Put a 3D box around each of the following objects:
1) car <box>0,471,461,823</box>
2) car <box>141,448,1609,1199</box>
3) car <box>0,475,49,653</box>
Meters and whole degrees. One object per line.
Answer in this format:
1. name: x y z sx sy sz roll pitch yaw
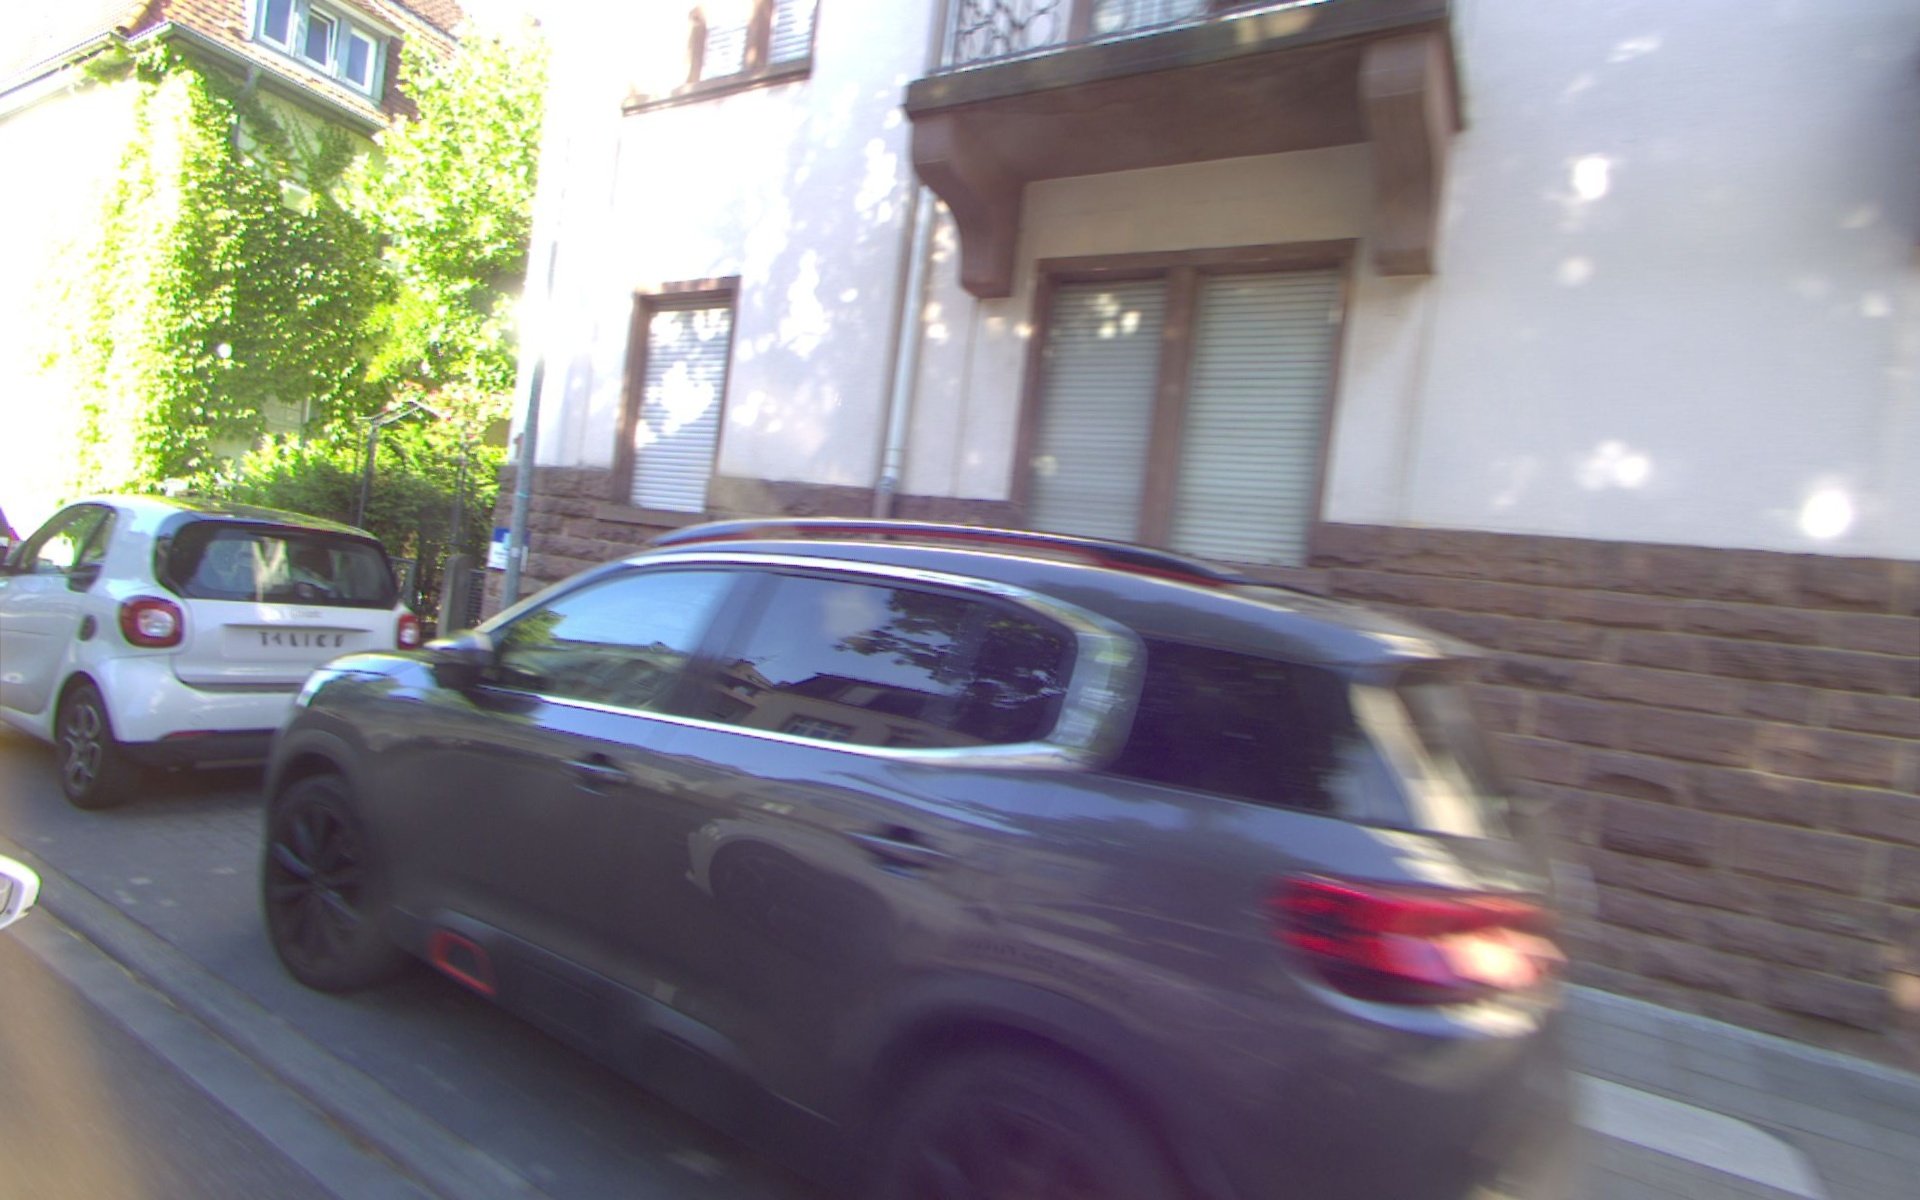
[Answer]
1. car: -4.651 0.186 5.975 2.822 1.567 1.628 6 -2 31
2. car: -0.562 0.589 3.231 4.249 1.715 1.782 6 -3 32
3. car: -10.191 -0.494 9.353 3.411 1.569 1.577 6 0 31
